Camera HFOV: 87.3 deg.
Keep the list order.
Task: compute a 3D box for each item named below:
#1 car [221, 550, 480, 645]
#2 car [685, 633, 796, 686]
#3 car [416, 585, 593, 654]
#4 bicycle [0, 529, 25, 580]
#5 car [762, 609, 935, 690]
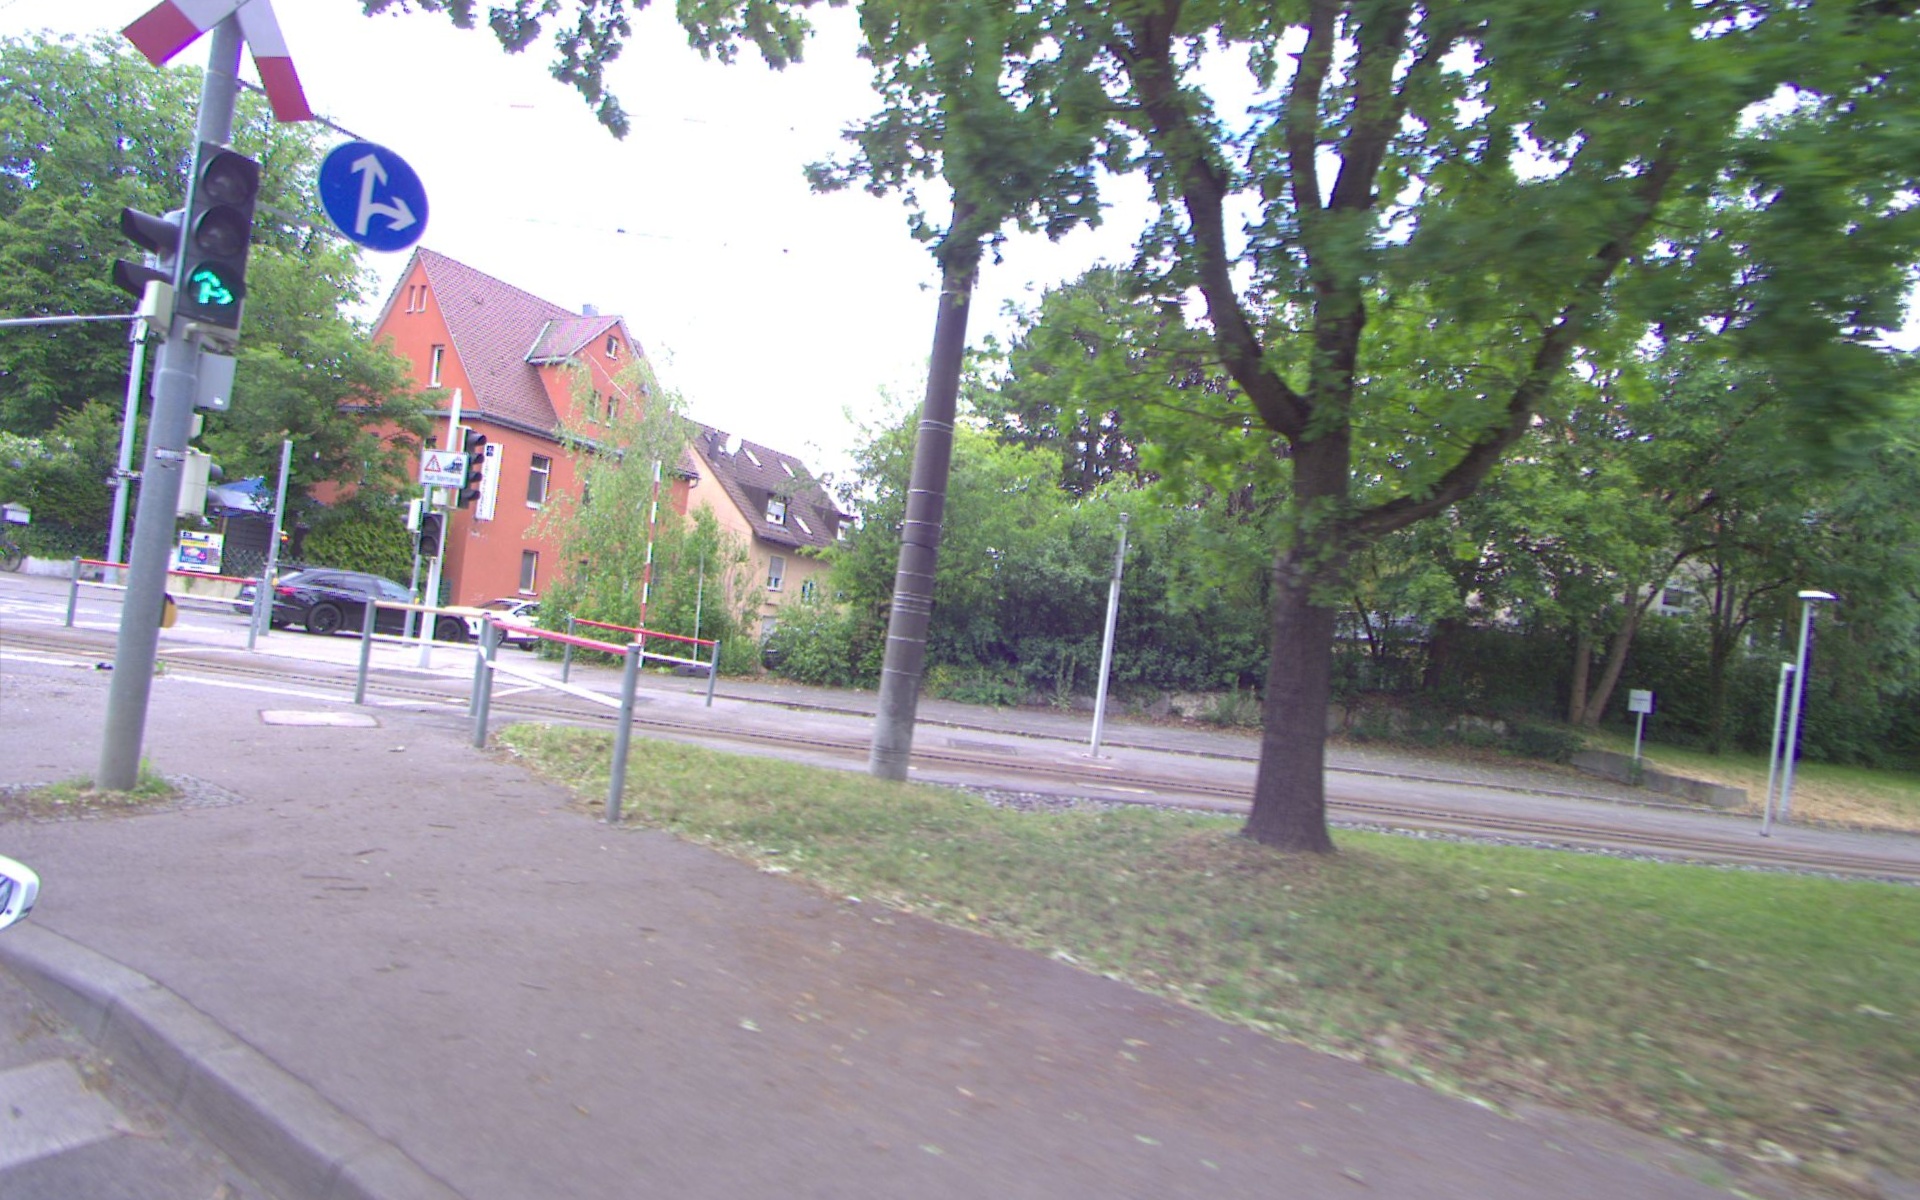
[{"bbox_3d":[-13.535,0.023,22.654,1.965,1.479,4.518,6,-3,28],"label":"car"},{"bbox_3d":[-8.526,2.390,39.558,1.963,1.478,4.528,6,-5,21],"label":"car"},{"bbox_3d":[-13.227,0.629,29.561,1.963,1.479,4.524,6,-3,21],"label":"car"},{"bbox_3d":[-24.747,-1.260,25.562,1.843,1.152,0.550,10,0,19],"label":"bicycle"},{"bbox_3d":[-2.587,1.275,24.638,1.965,1.479,4.520,6,-3,27],"label":"car"}]
